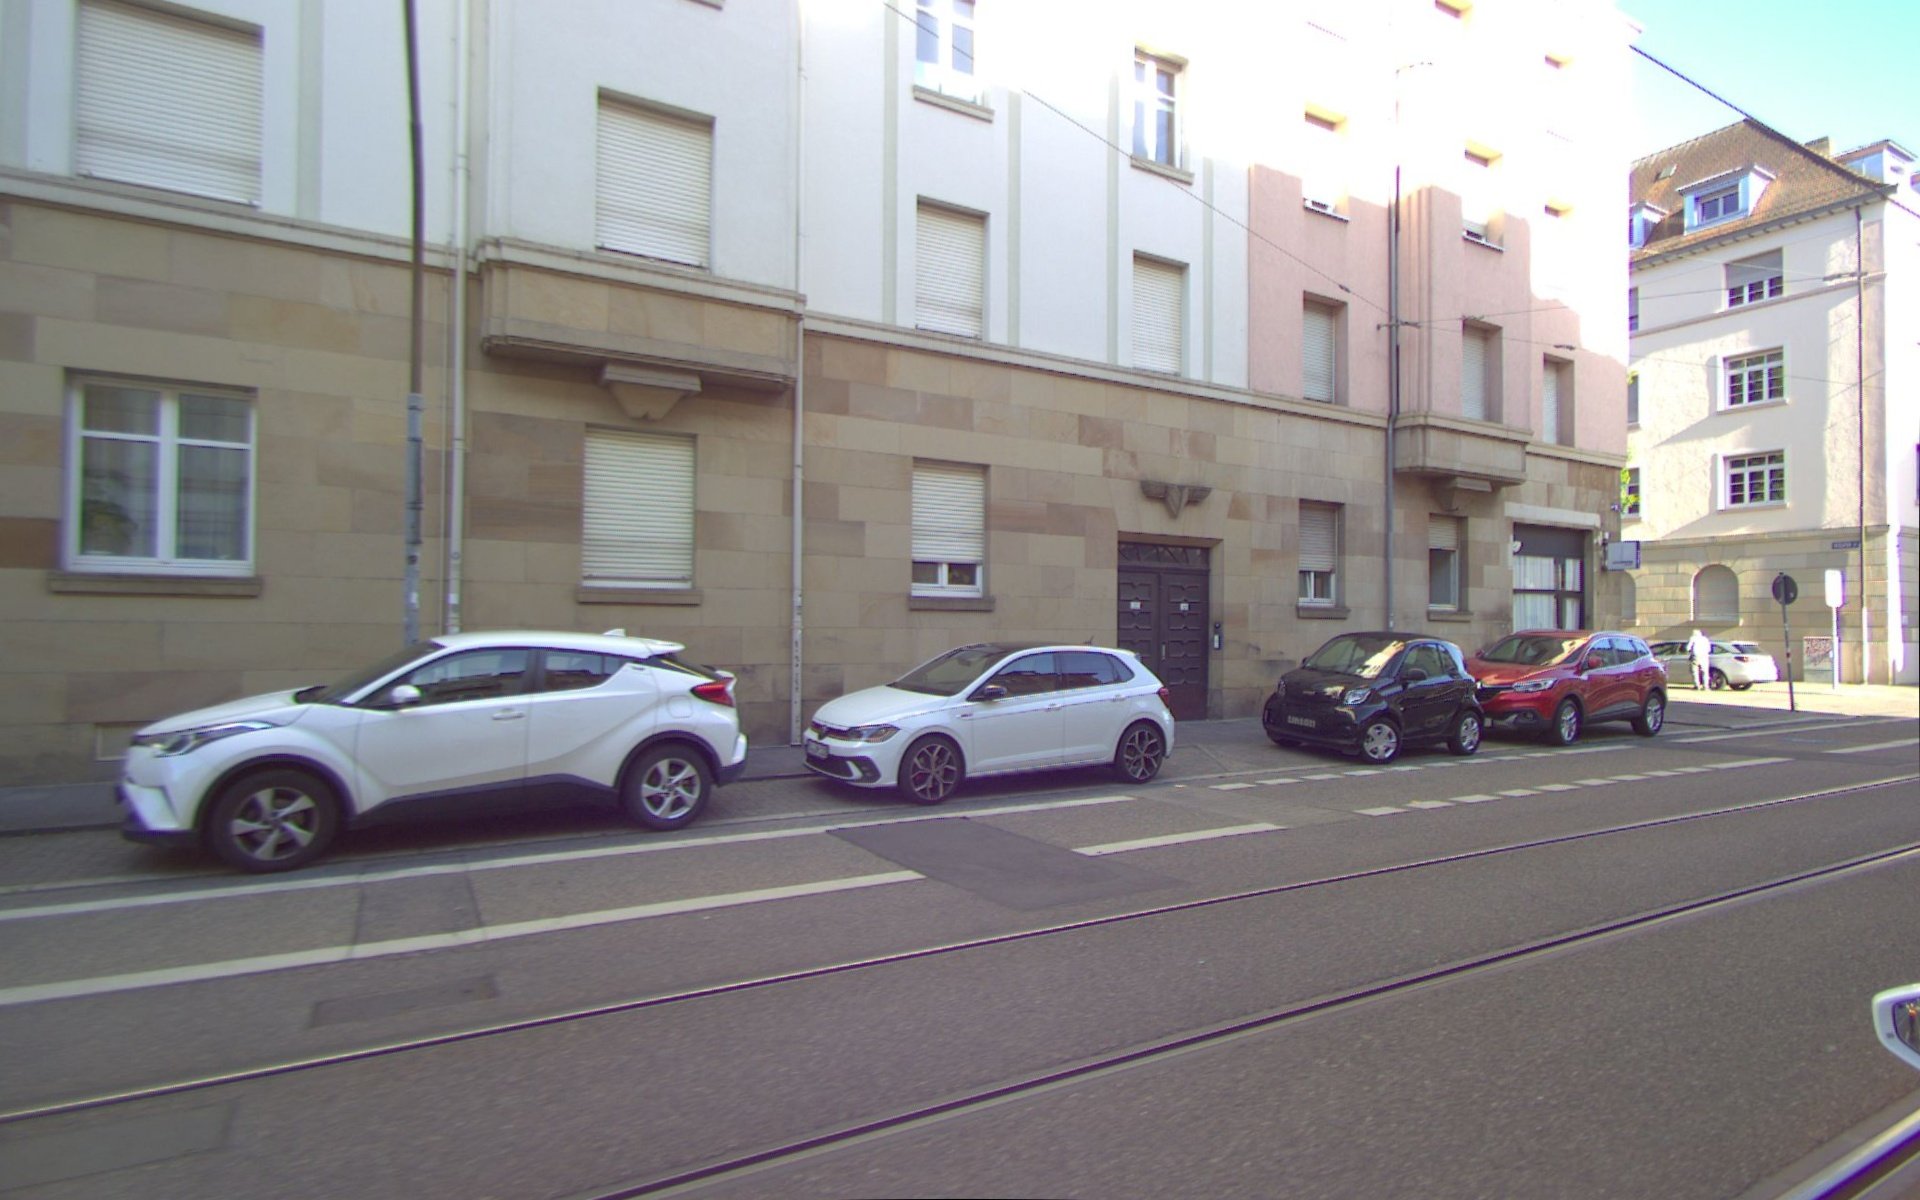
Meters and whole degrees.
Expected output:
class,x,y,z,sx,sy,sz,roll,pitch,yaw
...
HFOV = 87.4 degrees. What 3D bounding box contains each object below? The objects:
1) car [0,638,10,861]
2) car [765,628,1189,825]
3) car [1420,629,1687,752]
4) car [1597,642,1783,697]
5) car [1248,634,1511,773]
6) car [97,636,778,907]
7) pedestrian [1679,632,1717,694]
class,x,y,z,sx,sy,sz,roll,pitch,yaw
car,-8.141,1.004,5.231,4.310,1.544,1.774,1,0,-31
car,0.251,1.146,10.490,4.133,1.643,1.773,1,0,-32
car,9.255,1.293,15.582,4.348,1.628,1.773,1,0,-32
car,21.910,2.025,30.324,1.761,1.484,4.198,-1,-2,-30
car,5.556,1.269,13.307,2.983,1.573,1.775,1,0,-30
car,-3.798,1.098,7.939,4.317,1.567,1.762,1,0,-32
pedestrian,21.225,1.805,28.897,0.723,1.735,0.604,1,-2,-30
